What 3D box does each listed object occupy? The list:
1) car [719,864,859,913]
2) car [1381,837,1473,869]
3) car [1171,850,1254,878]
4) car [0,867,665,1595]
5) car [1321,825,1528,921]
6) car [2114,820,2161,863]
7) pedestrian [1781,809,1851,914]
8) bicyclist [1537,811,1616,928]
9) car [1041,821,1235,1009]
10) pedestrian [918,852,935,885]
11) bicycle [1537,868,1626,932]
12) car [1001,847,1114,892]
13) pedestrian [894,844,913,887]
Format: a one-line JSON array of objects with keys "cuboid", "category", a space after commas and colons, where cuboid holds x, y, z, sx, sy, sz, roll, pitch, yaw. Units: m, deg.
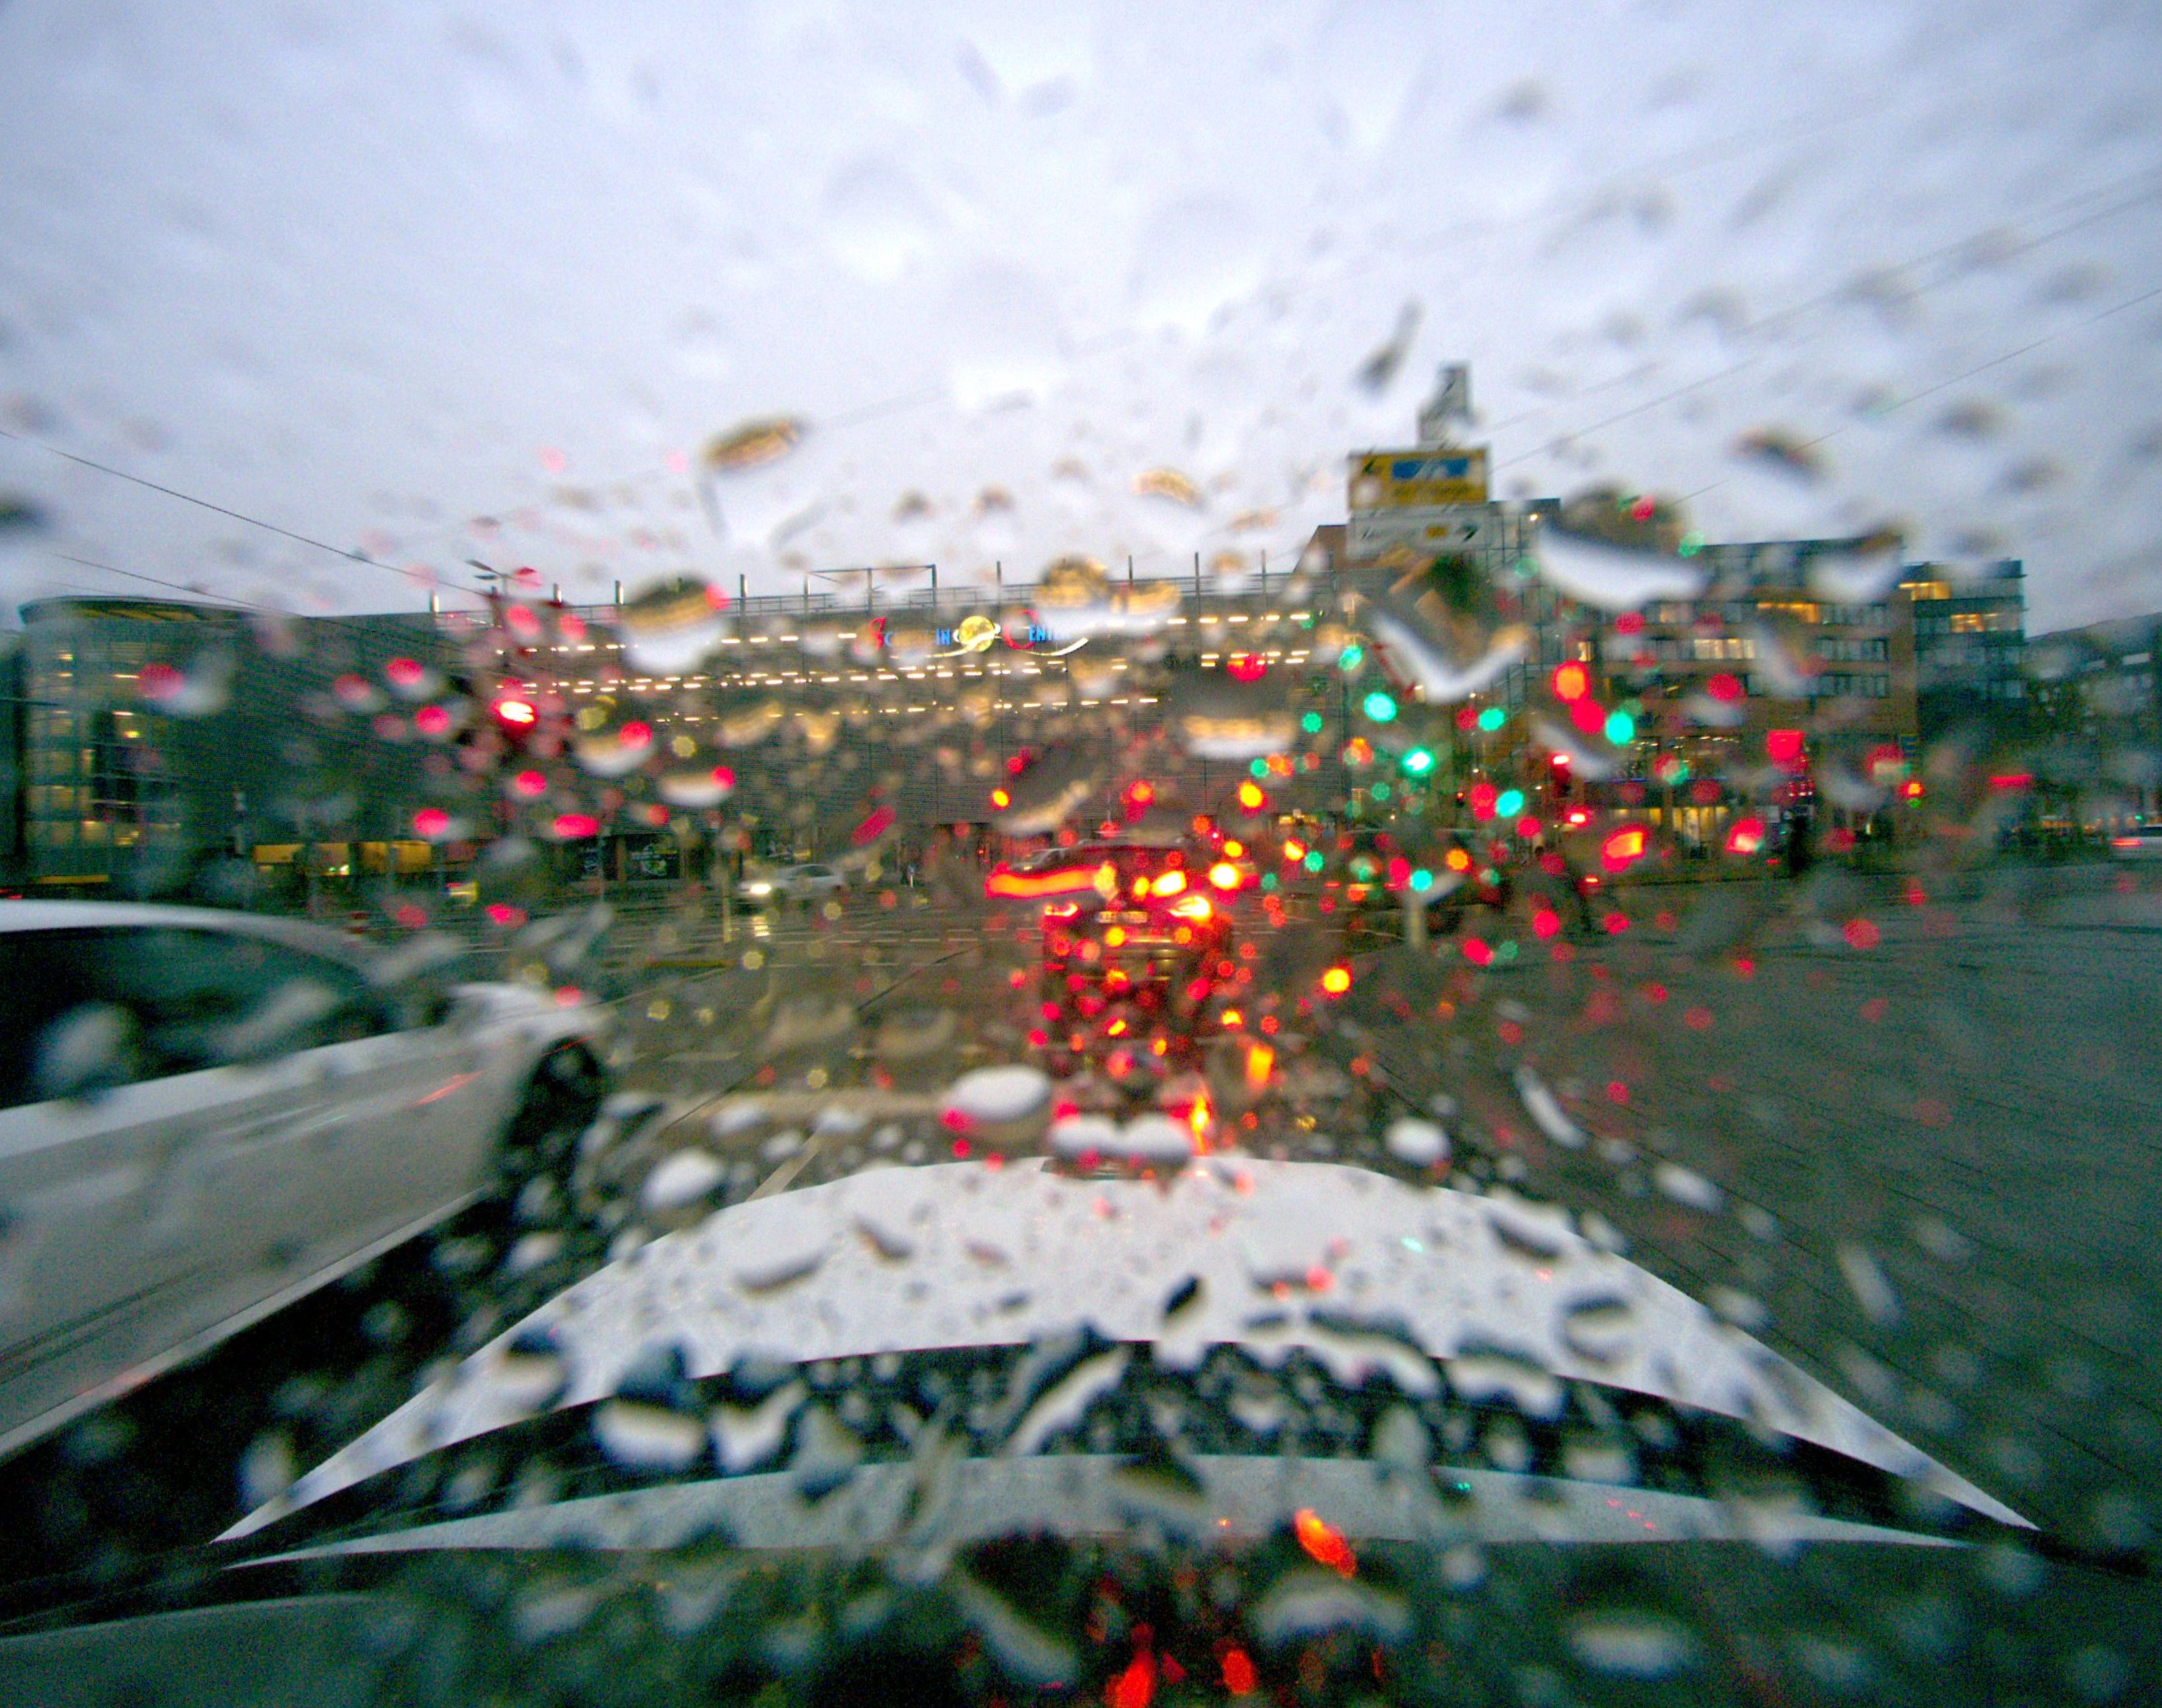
[{"cuboid": [-9.960, 1.138, 28.097, 1.842, 1.486, 4.368, -2, -1, 29], "category": "car"}, {"cuboid": [20.218, -0.052, 47.747, 4.578, 1.719, 1.930, -2, 0, 1], "category": "car"}, {"cuboid": [7.502, 0.573, 46.668, 4.403, 1.444, 1.626, -2, -1, -6], "category": "car"}, {"cuboid": [-3.097, 0.805, 2.367, 1.752, 1.463, 3.916, -1, -1, 0], "category": "car"}, {"cuboid": [7.411, 0.341, 17.448, 4.503, 1.806, 1.831, -1, 0, -33], "category": "car"}, {"cuboid": [36.594, -0.454, 26.822, 3.722, 1.361, 1.639, -2, -1, -11], "category": "car"}, {"cuboid": [13.532, 0.149, 15.012, 0.766, 1.877, 0.639, -2, -1, 27], "category": "pedestrian"}, {"cuboid": [8.344, 0.262, 13.769, 0.785, 1.890, 0.992, -2, -1, 11], "category": "bicyclist"}, {"cuboid": [0.901, 0.601, 9.816, 1.662, 1.779, 4.014, -2, 0, 13], "category": "car"}, {"cuboid": [-11.704, 1.086, 61.728, 1.105, 2.439, 0.967, 0, -1, 4], "category": "pedestrian"}, {"cuboid": [8.437, 0.741, 13.816, 0.651, 0.973, 1.872, -2, -1, 11], "category": "bicycle"}, {"cuboid": [-1.094, 0.724, 40.750, 5.691, 2.059, 1.930, -1, -1, -41], "category": "car"}, {"cuboid": [-12.330, 0.811, 56.607, 0.958, 2.925, 1.115, 0, -1, 4], "category": "pedestrian"}]
